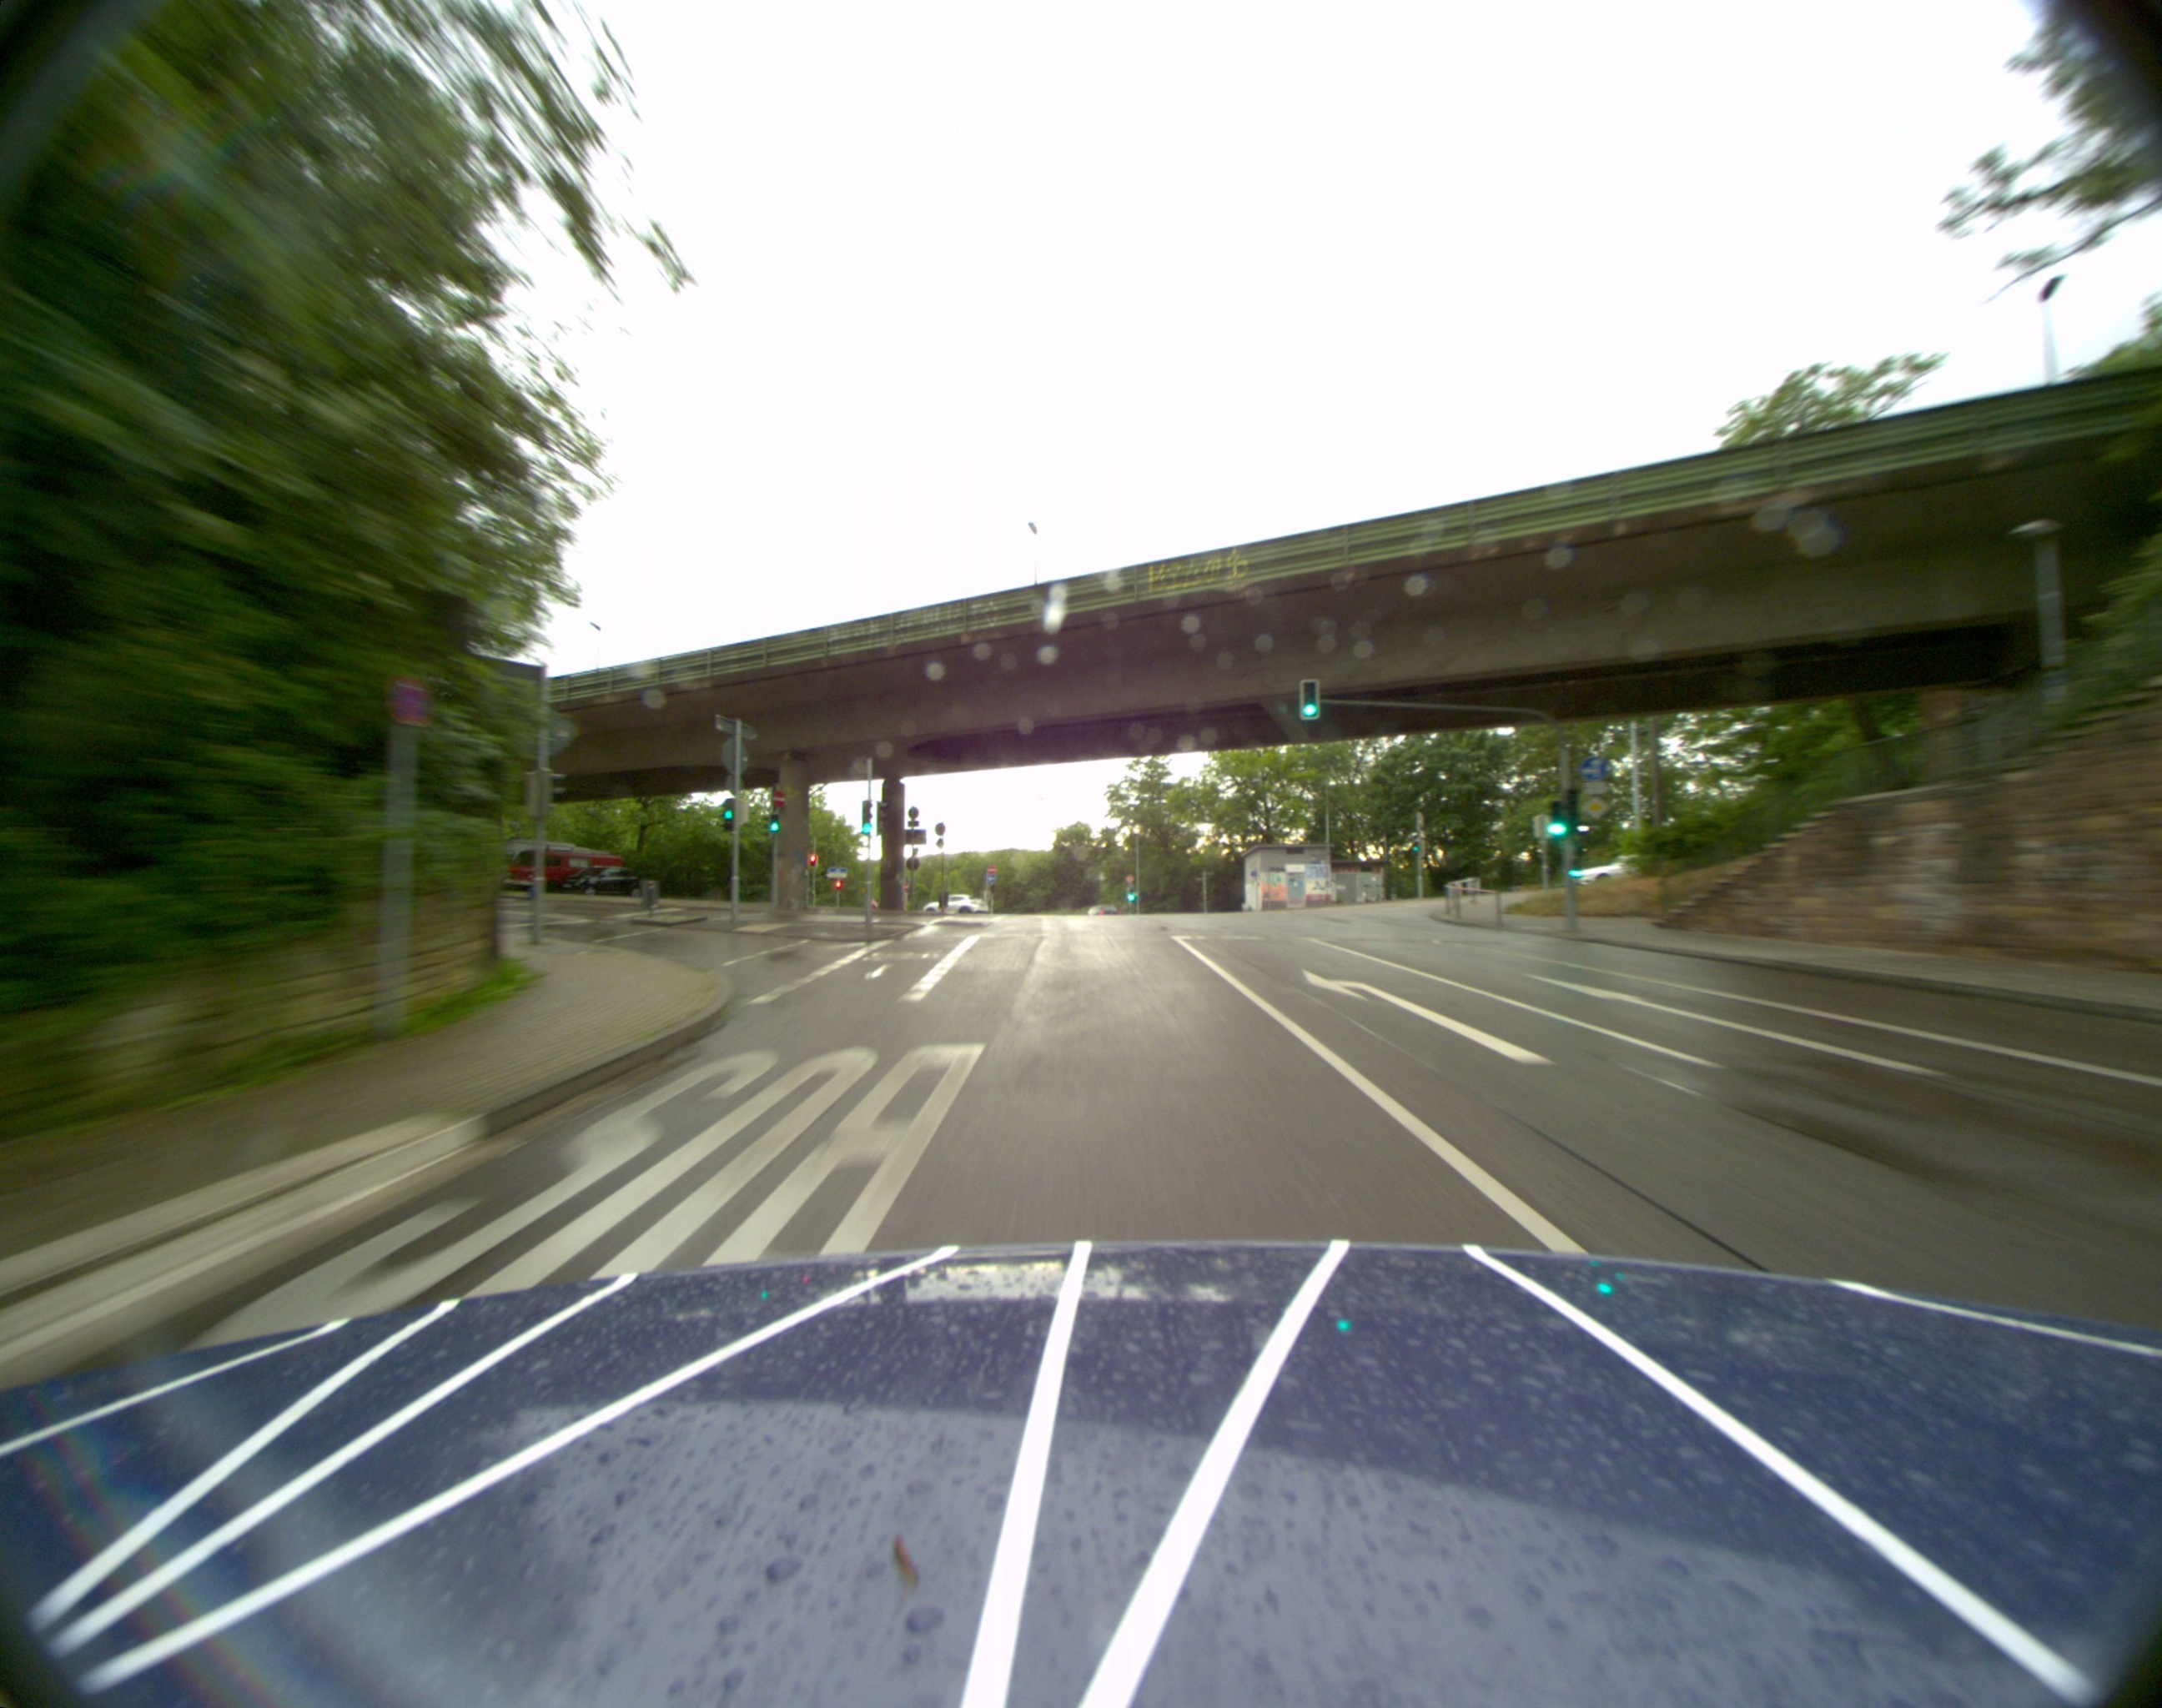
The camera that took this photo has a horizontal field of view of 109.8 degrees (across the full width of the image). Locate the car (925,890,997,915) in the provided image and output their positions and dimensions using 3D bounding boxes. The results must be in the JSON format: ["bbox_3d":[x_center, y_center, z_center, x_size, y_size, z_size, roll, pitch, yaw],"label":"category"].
[{"bbox_3d":[-7.268,2.932,46.032,3.990,1.302,1.771,-2,1,28],"label":"car"}]

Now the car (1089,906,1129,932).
[{"bbox_3d":[2.090,4.847,56.979,1.668,1.621,3.465,-3,1,-22],"label":"car"}]

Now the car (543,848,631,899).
[{"bbox_3d":[-25.184,0.947,38.827,1.440,2.397,3.415,-2,1,26],"label":"car"}]

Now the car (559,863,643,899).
[{"bbox_3d":[-23.407,1.295,37.129,1.515,1.546,3.035,-2,1,26],"label":"car"}]
